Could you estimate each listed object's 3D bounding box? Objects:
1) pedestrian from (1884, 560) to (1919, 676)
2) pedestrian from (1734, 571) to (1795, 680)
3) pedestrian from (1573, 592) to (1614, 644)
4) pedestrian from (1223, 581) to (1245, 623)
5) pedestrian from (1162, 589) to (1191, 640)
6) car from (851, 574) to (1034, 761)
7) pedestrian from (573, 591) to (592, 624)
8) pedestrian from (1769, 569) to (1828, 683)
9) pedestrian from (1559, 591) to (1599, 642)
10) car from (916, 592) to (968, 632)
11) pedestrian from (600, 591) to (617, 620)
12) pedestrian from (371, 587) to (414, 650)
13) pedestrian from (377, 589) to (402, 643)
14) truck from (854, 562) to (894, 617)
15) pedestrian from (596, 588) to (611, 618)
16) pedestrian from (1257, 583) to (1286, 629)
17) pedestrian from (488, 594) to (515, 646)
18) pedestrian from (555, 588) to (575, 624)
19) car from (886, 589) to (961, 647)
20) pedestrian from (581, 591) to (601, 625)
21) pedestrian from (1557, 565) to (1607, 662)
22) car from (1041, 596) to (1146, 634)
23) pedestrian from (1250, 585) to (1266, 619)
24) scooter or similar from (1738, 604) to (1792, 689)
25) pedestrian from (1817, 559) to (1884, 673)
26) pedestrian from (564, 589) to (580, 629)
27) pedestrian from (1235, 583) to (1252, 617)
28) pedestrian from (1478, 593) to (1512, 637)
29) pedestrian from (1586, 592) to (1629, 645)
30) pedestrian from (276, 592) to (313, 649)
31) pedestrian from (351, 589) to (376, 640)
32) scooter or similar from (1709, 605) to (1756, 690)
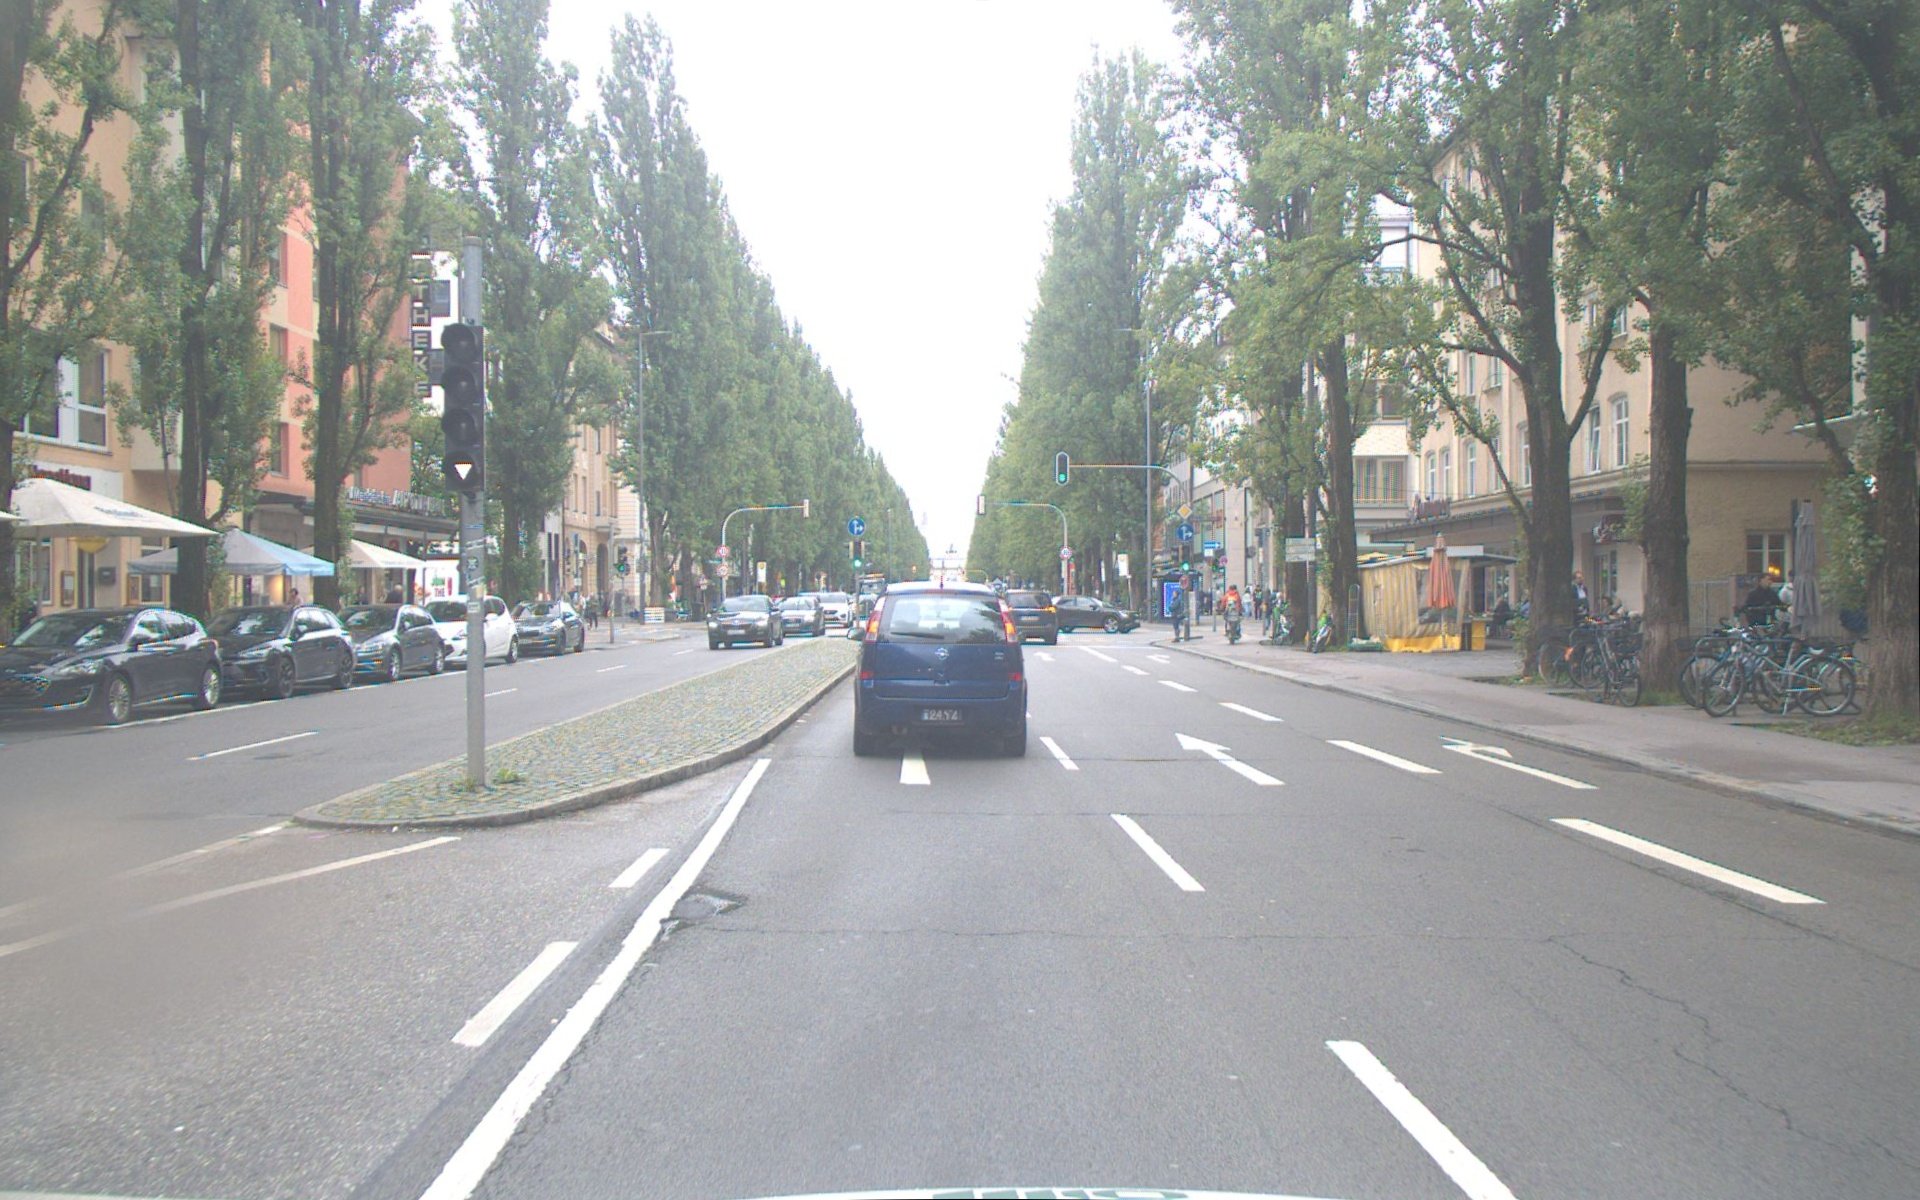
[{"bbox_3d":[15.174,0.284,26.245,0.643,1.816,0.674,-1,0,1],"label":"pedestrian"},{"bbox_3d":[13.154,0.410,27.050,0.643,1.740,0.691,-1,0,-2],"label":"pedestrian"},{"bbox_3d":[15.789,0.448,41.241,0.759,1.286,0.699,0,0,0],"label":"pedestrian"},{"bbox_3d":[11.995,0.087,72.412,0.801,1.849,0.890,0,0,-2],"label":"pedestrian"},{"bbox_3d":[6.998,0.473,53.525,0.750,1.638,0.863,-1,0,-4],"label":"pedestrian"},{"bbox_3d":[-0.197,0.600,16.920,1.647,1.670,3.999,0,0,-1],"label":"car"},{"bbox_3d":[-19.312,0.378,84.537,0.717,1.711,0.977,1,0,0],"label":"pedestrian"},{"bbox_3d":[13.814,0.426,27.263,0.609,1.851,0.691,-1,0,-2],"label":"pedestrian"},{"bbox_3d":[15.882,0.422,42.455,0.759,1.286,0.699,0,0,0],"label":"pedestrian"},{"bbox_3d":[-0.721,0.444,64.950,1.953,1.524,3.999,-1,0,-1],"label":"car"},{"bbox_3d":[-20.233,0.291,95.267,0.762,1.647,0.934,-1,0,-1],"label":"pedestrian"},{"bbox_3d":[-16.797,0.547,48.989,0.719,1.827,0.993,1,-1,18],"label":"pedestrian"},{"bbox_3d":[-18.726,0.527,54.292,0.543,1.748,0.692,-1,0,-1],"label":"pedestrian"},{"bbox_3d":[-6.031,-0.722,117.159,2.413,3.734,8.439,-1,0,0],"label":"truck"},{"bbox_3d":[-21.834,0.194,101.307,0.684,1.819,0.820,-1,0,1],"label":"pedestrian"},{"bbox_3d":[11.984,0.230,63.613,0.661,1.732,0.847,1,-3,-43],"label":"pedestrian"},{"bbox_3d":[-16.213,0.693,58.487,0.709,1.802,0.778,-1,0,0],"label":"pedestrian"},{"bbox_3d":[-20.148,0.284,84.385,0.783,1.818,0.912,1,0,0],"label":"pedestrian"},{"bbox_3d":[-0.996,0.466,45.634,1.953,1.524,3.999,-1,0,-1],"label":"car"},{"bbox_3d":[-17.677,0.372,79.228,0.735,1.594,0.988,-1,0,-4],"label":"pedestrian"},{"bbox_3d":[12.243,0.262,32.569,0.643,1.883,0.906,-1,0,1],"label":"pedestrian"},{"bbox_3d":[5.404,0.613,67.097,3.916,1.487,1.754,0,0,33],"label":"car"},{"bbox_3d":[15.746,0.129,87.527,0.734,1.788,0.711,0,0,1],"label":"pedestrian"},{"bbox_3d":[12.537,0.711,25.780,0.323,1.295,1.036,0,0,0],"label":"scooter or similar"},{"bbox_3d":[14.659,0.261,27.240,0.727,1.846,0.756,0,0,3],"label":"pedestrian"},{"bbox_3d":[-16.801,0.393,71.568,0.574,1.720,0.514,-1,0,-1],"label":"pedestrian"},{"bbox_3d":[14.958,0.014,87.245,0.734,1.788,1.017,-1,0,1],"label":"pedestrian"},{"bbox_3d":[15.846,0.429,48.985,0.759,1.286,0.699,0,0,0],"label":"pedestrian"},{"bbox_3d":[15.815,0.440,40.406,0.759,1.286,0.699,0,0,0],"label":"pedestrian"},{"bbox_3d":[-19.808,0.604,49.235,0.764,1.697,0.802,-1,0,-1],"label":"pedestrian"},{"bbox_3d":[-19.426,0.468,53.879,0.543,1.667,0.692,-1,0,-1],"label":"pedestrian"},{"bbox_3d":[12.041,0.728,25.799,0.242,1.295,1.036,0,0,0],"label":"scooter or similar"}]
